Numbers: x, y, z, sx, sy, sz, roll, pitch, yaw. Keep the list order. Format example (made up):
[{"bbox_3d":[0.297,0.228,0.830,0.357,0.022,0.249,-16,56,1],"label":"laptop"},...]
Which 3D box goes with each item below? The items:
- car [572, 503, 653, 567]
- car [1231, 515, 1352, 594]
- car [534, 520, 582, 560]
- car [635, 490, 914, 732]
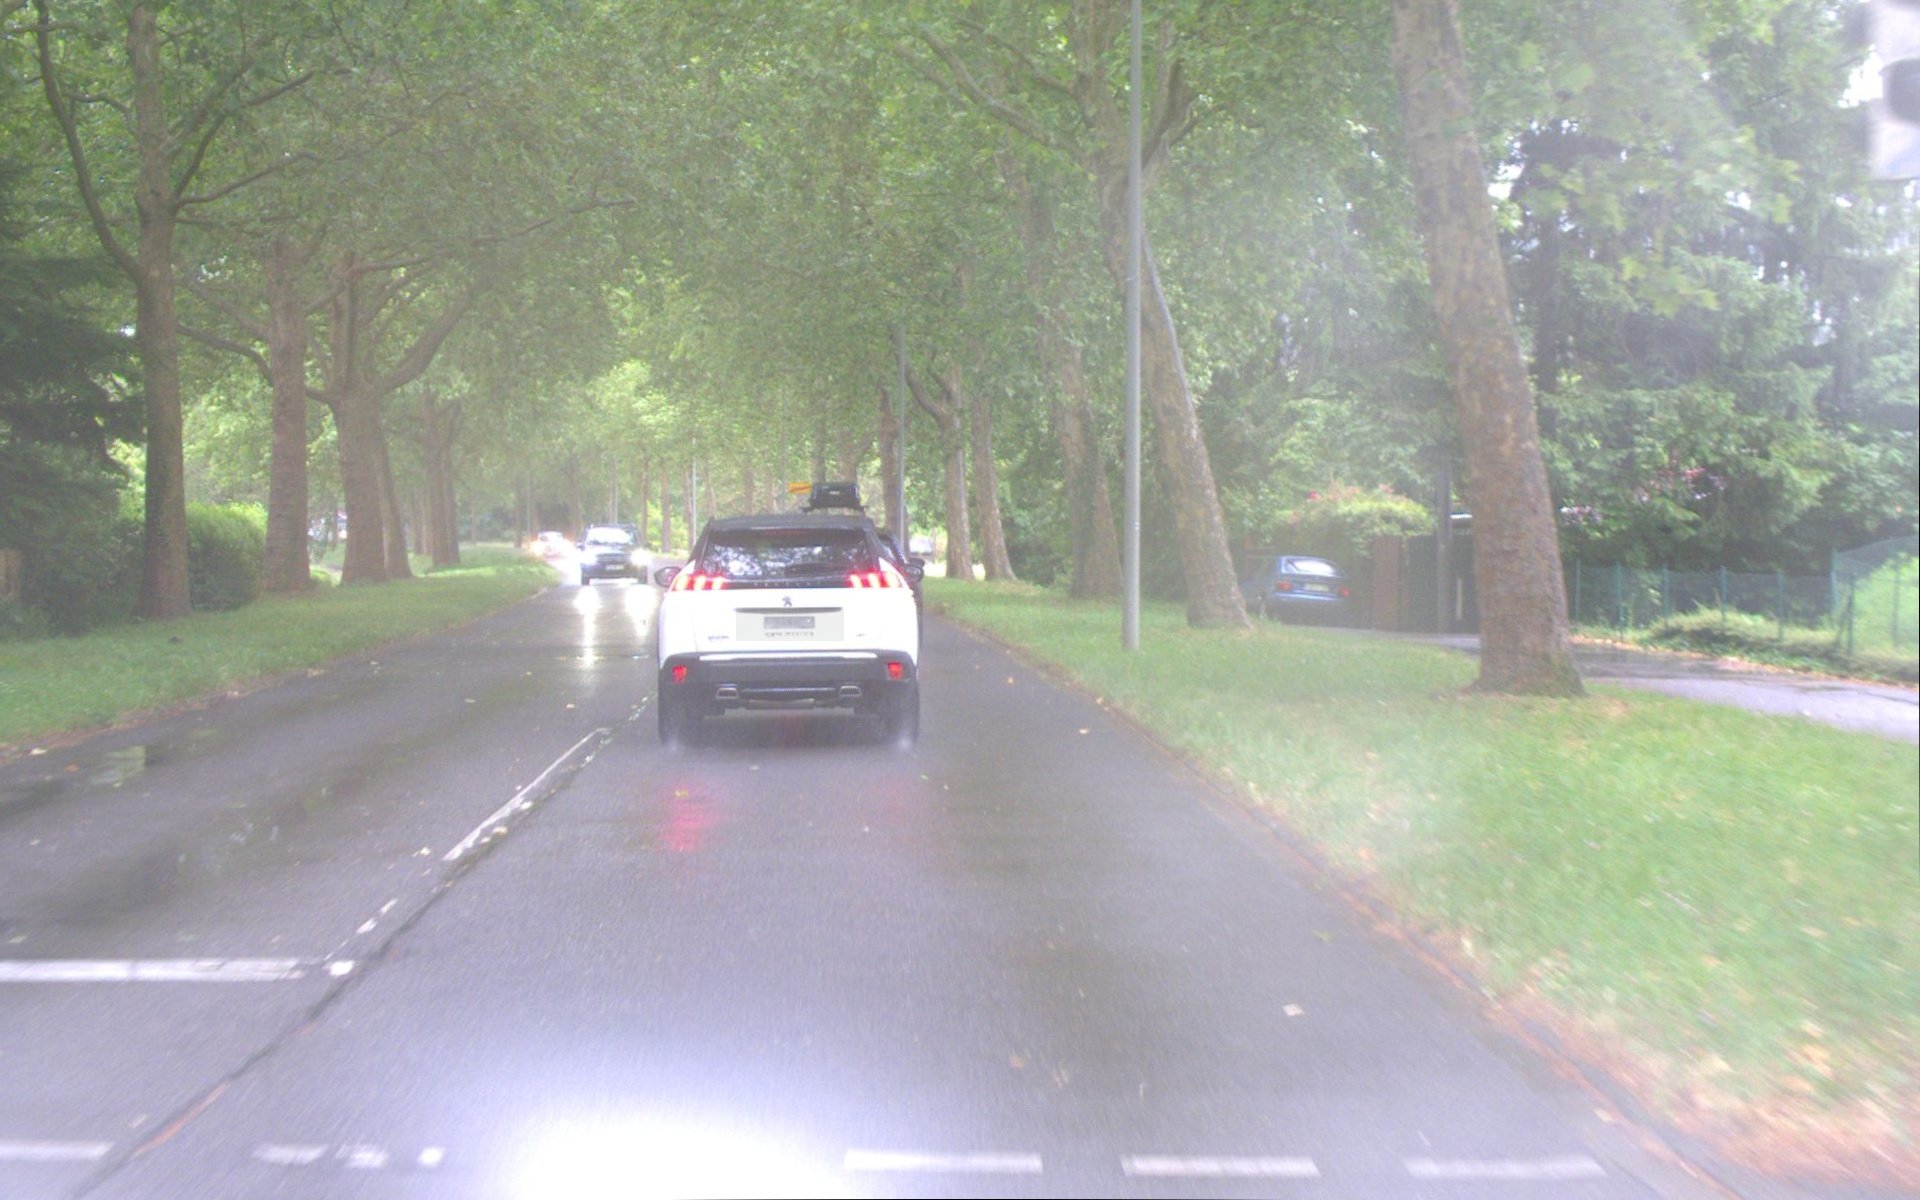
[{"bbox_3d":[-9.427,-1.774,93.487,1.873,1.671,3.708,0,1,-1],"label":"car"},{"bbox_3d":[6.475,-0.911,67.573,1.905,1.504,3.932,0,1,-1],"label":"car"},{"bbox_3d":[-20.525,-3.081,175.668,1.993,2.007,4.000,0,1,-1],"label":"car"},{"bbox_3d":[-1.297,0.054,24.420,1.780,1.531,4.058,1,0,-3],"label":"car"}]
